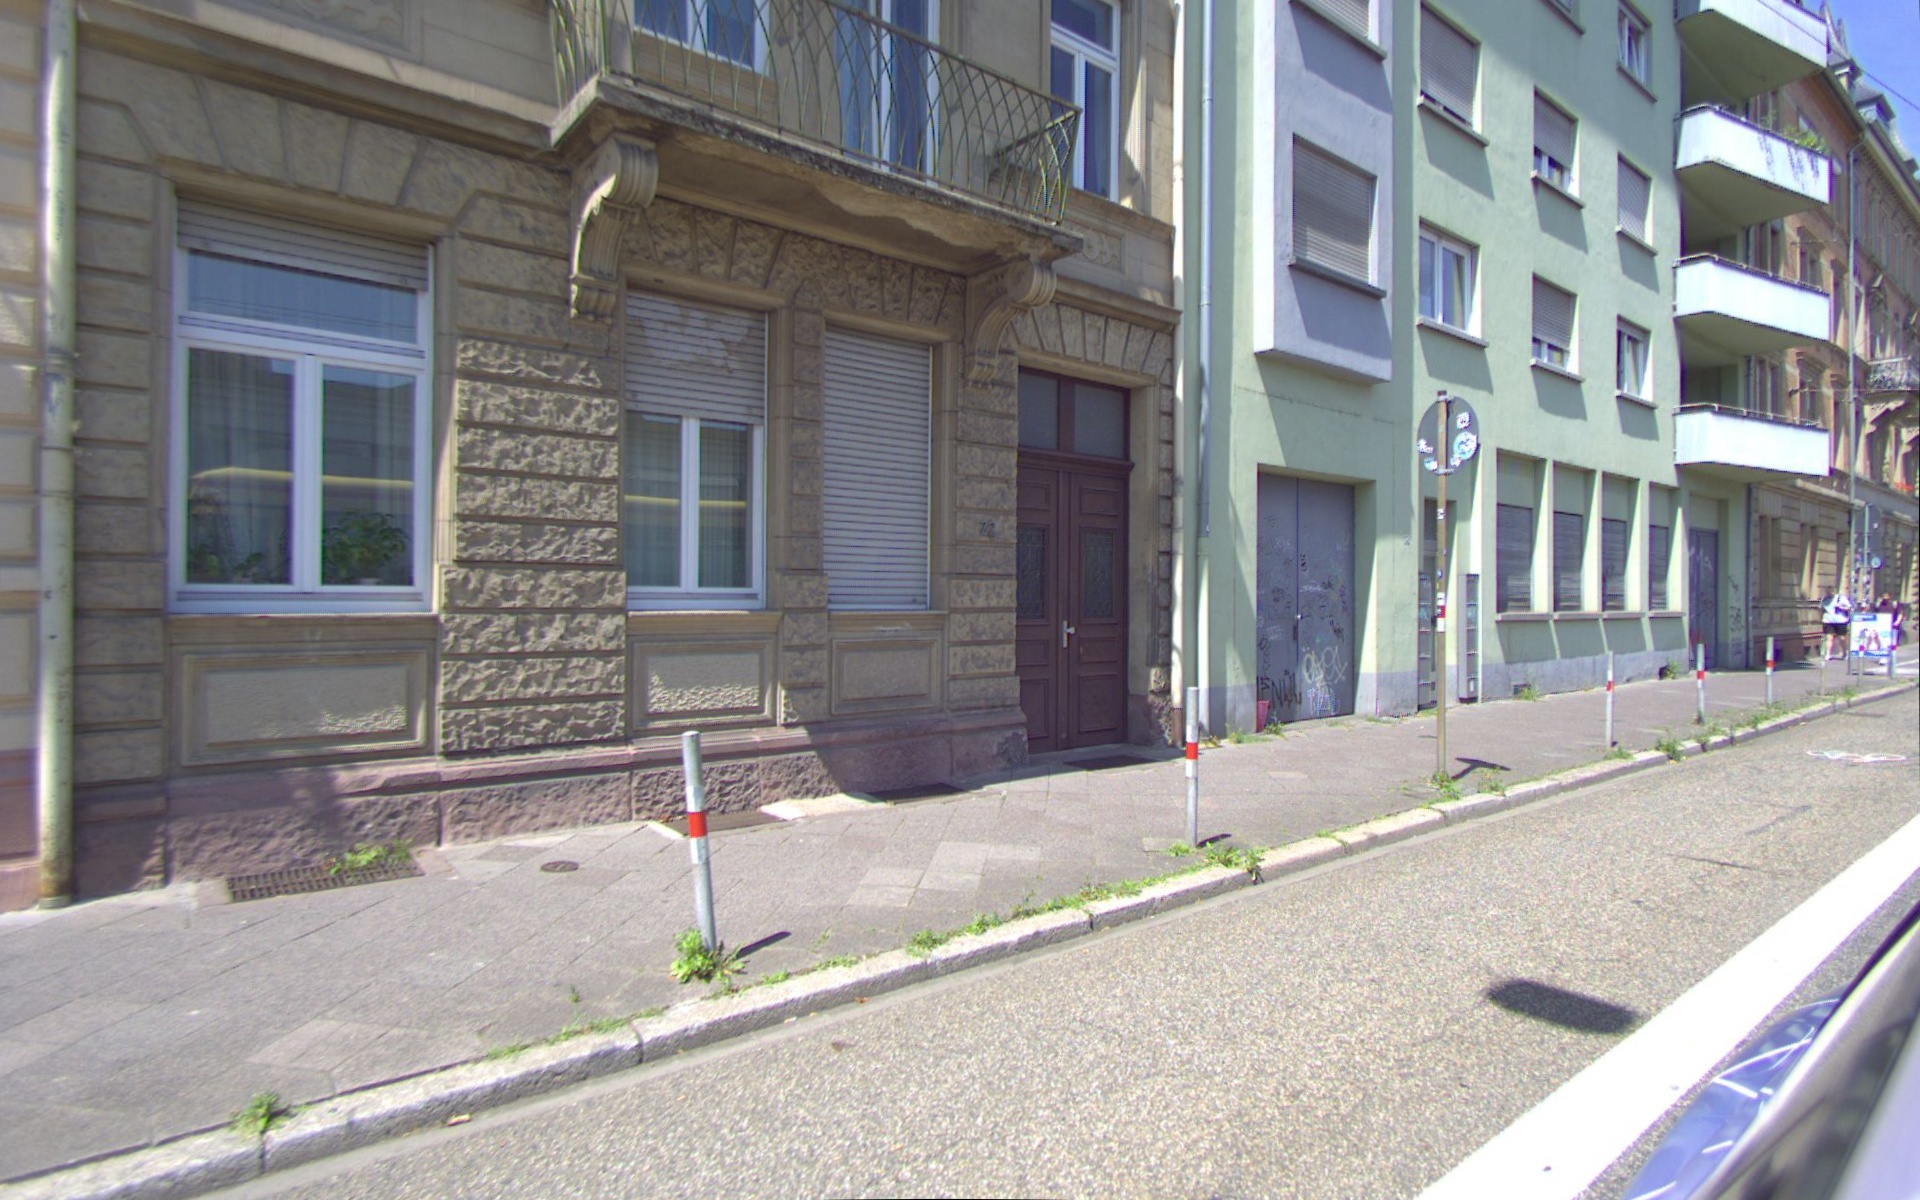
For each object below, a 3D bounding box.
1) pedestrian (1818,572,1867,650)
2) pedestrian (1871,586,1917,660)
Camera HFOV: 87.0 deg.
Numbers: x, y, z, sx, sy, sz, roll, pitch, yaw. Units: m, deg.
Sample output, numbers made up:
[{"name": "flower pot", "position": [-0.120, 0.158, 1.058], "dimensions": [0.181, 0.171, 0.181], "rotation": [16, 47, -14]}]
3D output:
[{"name": "pedestrian", "position": [21.905, 0.271, 25.119], "dimensions": [0.632, 1.871, 0.705], "rotation": [0, 3, -37]}, {"name": "pedestrian", "position": [22.437, 0.543, 24.312], "dimensions": [0.632, 1.741, 0.722], "rotation": [0, 0, -37]}]
